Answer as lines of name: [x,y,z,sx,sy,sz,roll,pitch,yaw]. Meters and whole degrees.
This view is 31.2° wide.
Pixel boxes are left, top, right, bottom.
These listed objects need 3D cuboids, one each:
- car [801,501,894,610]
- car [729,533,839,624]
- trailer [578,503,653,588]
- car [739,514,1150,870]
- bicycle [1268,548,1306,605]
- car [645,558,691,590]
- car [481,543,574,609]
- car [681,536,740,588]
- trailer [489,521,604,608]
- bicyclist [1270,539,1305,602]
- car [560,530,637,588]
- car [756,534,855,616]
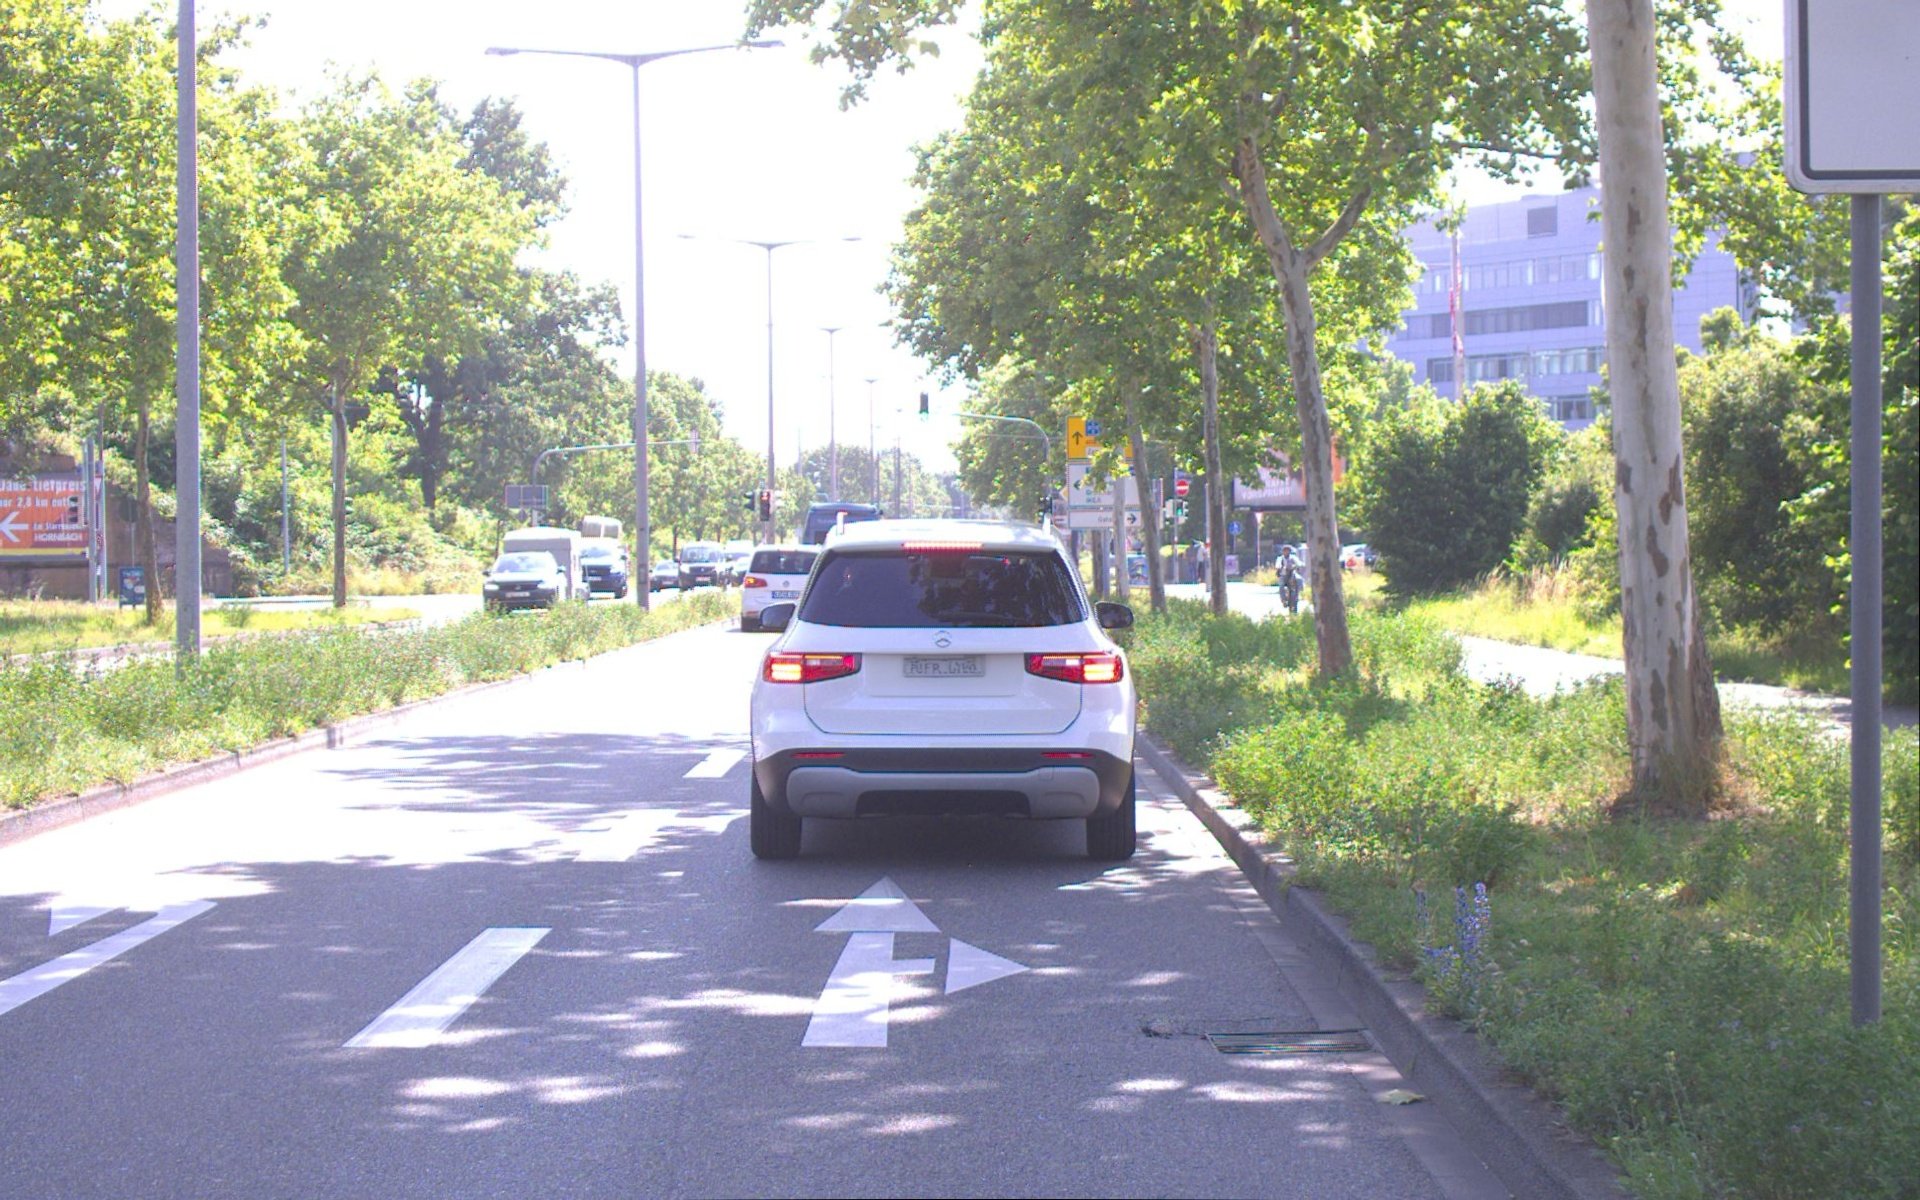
car: [-2.824,-1.121,87.469,2.081,2.647,4.874,1,1,1]
car: [-3.304,-0.418,65.270,1.771,1.641,4.352,1,1,1]
trailer: [-11.488,-1.810,114.981,1.880,2.734,4.828,2,1,1]
car: [-0.176,0.384,17.507,1.853,1.602,4.001,0,1,-3]
bicycle: [7.622,-0.558,80.225,0.723,1.294,2.095,1,1,1]
car: [-12.939,-1.154,152.476,1.701,1.360,3.646,1,1,0]
car: [-10.823,-0.618,86.238,1.715,1.616,4.361,0,1,1]
car: [-9.068,-1.389,125.174,1.731,1.803,4.232,2,1,1]
trailer: [-10.918,-0.943,91.186,2.309,2.257,5.538,0,1,1]
bicyclist: [7.642,-0.690,80.219,0.704,1.472,1.009,1,0,1]
car: [-11.582,-1.306,110.320,1.764,1.783,5.376,2,1,1]
car: [-3.173,-0.523,71.331,1.771,1.641,4.084,1,1,1]
